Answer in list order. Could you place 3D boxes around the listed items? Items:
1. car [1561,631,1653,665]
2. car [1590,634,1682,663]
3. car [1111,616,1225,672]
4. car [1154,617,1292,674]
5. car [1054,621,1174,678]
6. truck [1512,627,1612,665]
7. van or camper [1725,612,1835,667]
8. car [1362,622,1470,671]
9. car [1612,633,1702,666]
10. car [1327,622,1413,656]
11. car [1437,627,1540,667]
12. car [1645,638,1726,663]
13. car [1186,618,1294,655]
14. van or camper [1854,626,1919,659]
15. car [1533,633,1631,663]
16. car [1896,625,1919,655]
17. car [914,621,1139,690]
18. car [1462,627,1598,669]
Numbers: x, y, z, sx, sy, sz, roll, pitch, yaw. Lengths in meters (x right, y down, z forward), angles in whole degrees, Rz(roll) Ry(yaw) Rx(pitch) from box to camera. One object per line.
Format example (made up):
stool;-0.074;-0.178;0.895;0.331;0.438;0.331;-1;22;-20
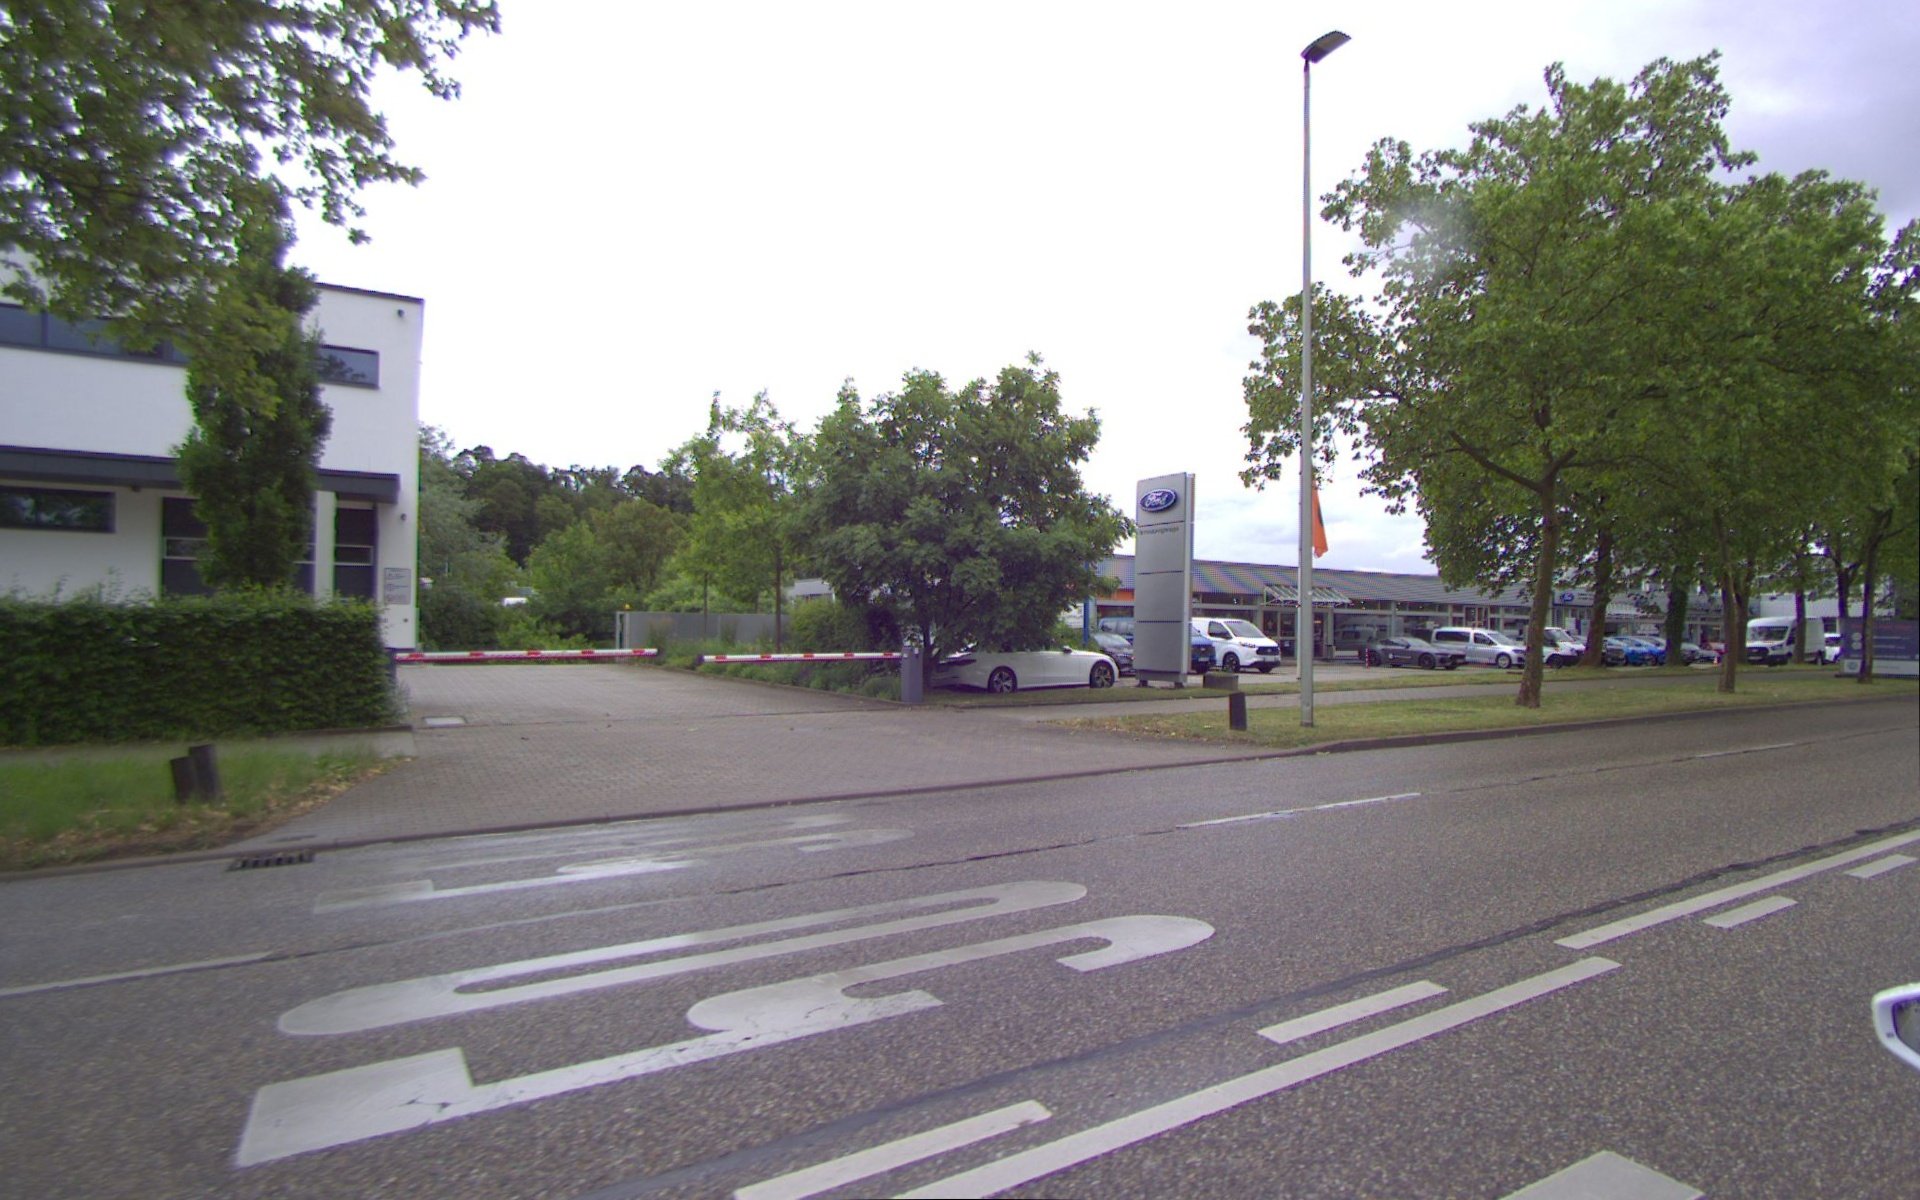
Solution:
car;35.030;2.574;54.507;1.834;1.790;3.988;1;-2;-15
car;37.365;2.669;55.613;1.834;1.540;3.988;1;-2;-15
car;7.386;1.544;36.051;1.939;1.914;3.970;1;-2;-29
car;9.874;1.680;38.107;2.106;2.040;5.018;1;-2;-32
car;5.255;1.658;34.702;2.041;1.837;4.109;1;-2;-29
truck;30.764;2.343;51.404;1.983;1.862;3.955;2;-2;-39
van or camper;39.322;1.863;48.110;6.326;2.503;1.984;1;0;-30
car;19.976;1.994;44.141;1.862;2.040;3.965;1;-2;-32
car;39.484;2.765;57.028;1.833;1.790;3.989;1;-2;-14
car;22.006;2.071;54.006;1.844;1.790;3.966;1;-2;-32
car;24.963;2.181;47.577;1.862;1.790;3.965;1;-2;-32
car;44.796;3.093;62.109;1.574;1.487;3.893;1;-2;-18
car;15.287;1.968;54.931;5.258;1.862;2.385;0;-1;33
van or camper;54.806;2.428;57.426;5.212;1.845;2.260;-1;-2;35
car;32.919;2.515;53.244;2.008;1.480;3.973;1;-2;-27
car;60.574;2.454;61.579;4.398;1.840;1.992;-1;-2;37
car;1.665;1.289;24.225;5.188;1.516;2.107;1;-2;-32
car;27.992;2.303;49.516;2.390;1.928;5.344;1;-2;-33
